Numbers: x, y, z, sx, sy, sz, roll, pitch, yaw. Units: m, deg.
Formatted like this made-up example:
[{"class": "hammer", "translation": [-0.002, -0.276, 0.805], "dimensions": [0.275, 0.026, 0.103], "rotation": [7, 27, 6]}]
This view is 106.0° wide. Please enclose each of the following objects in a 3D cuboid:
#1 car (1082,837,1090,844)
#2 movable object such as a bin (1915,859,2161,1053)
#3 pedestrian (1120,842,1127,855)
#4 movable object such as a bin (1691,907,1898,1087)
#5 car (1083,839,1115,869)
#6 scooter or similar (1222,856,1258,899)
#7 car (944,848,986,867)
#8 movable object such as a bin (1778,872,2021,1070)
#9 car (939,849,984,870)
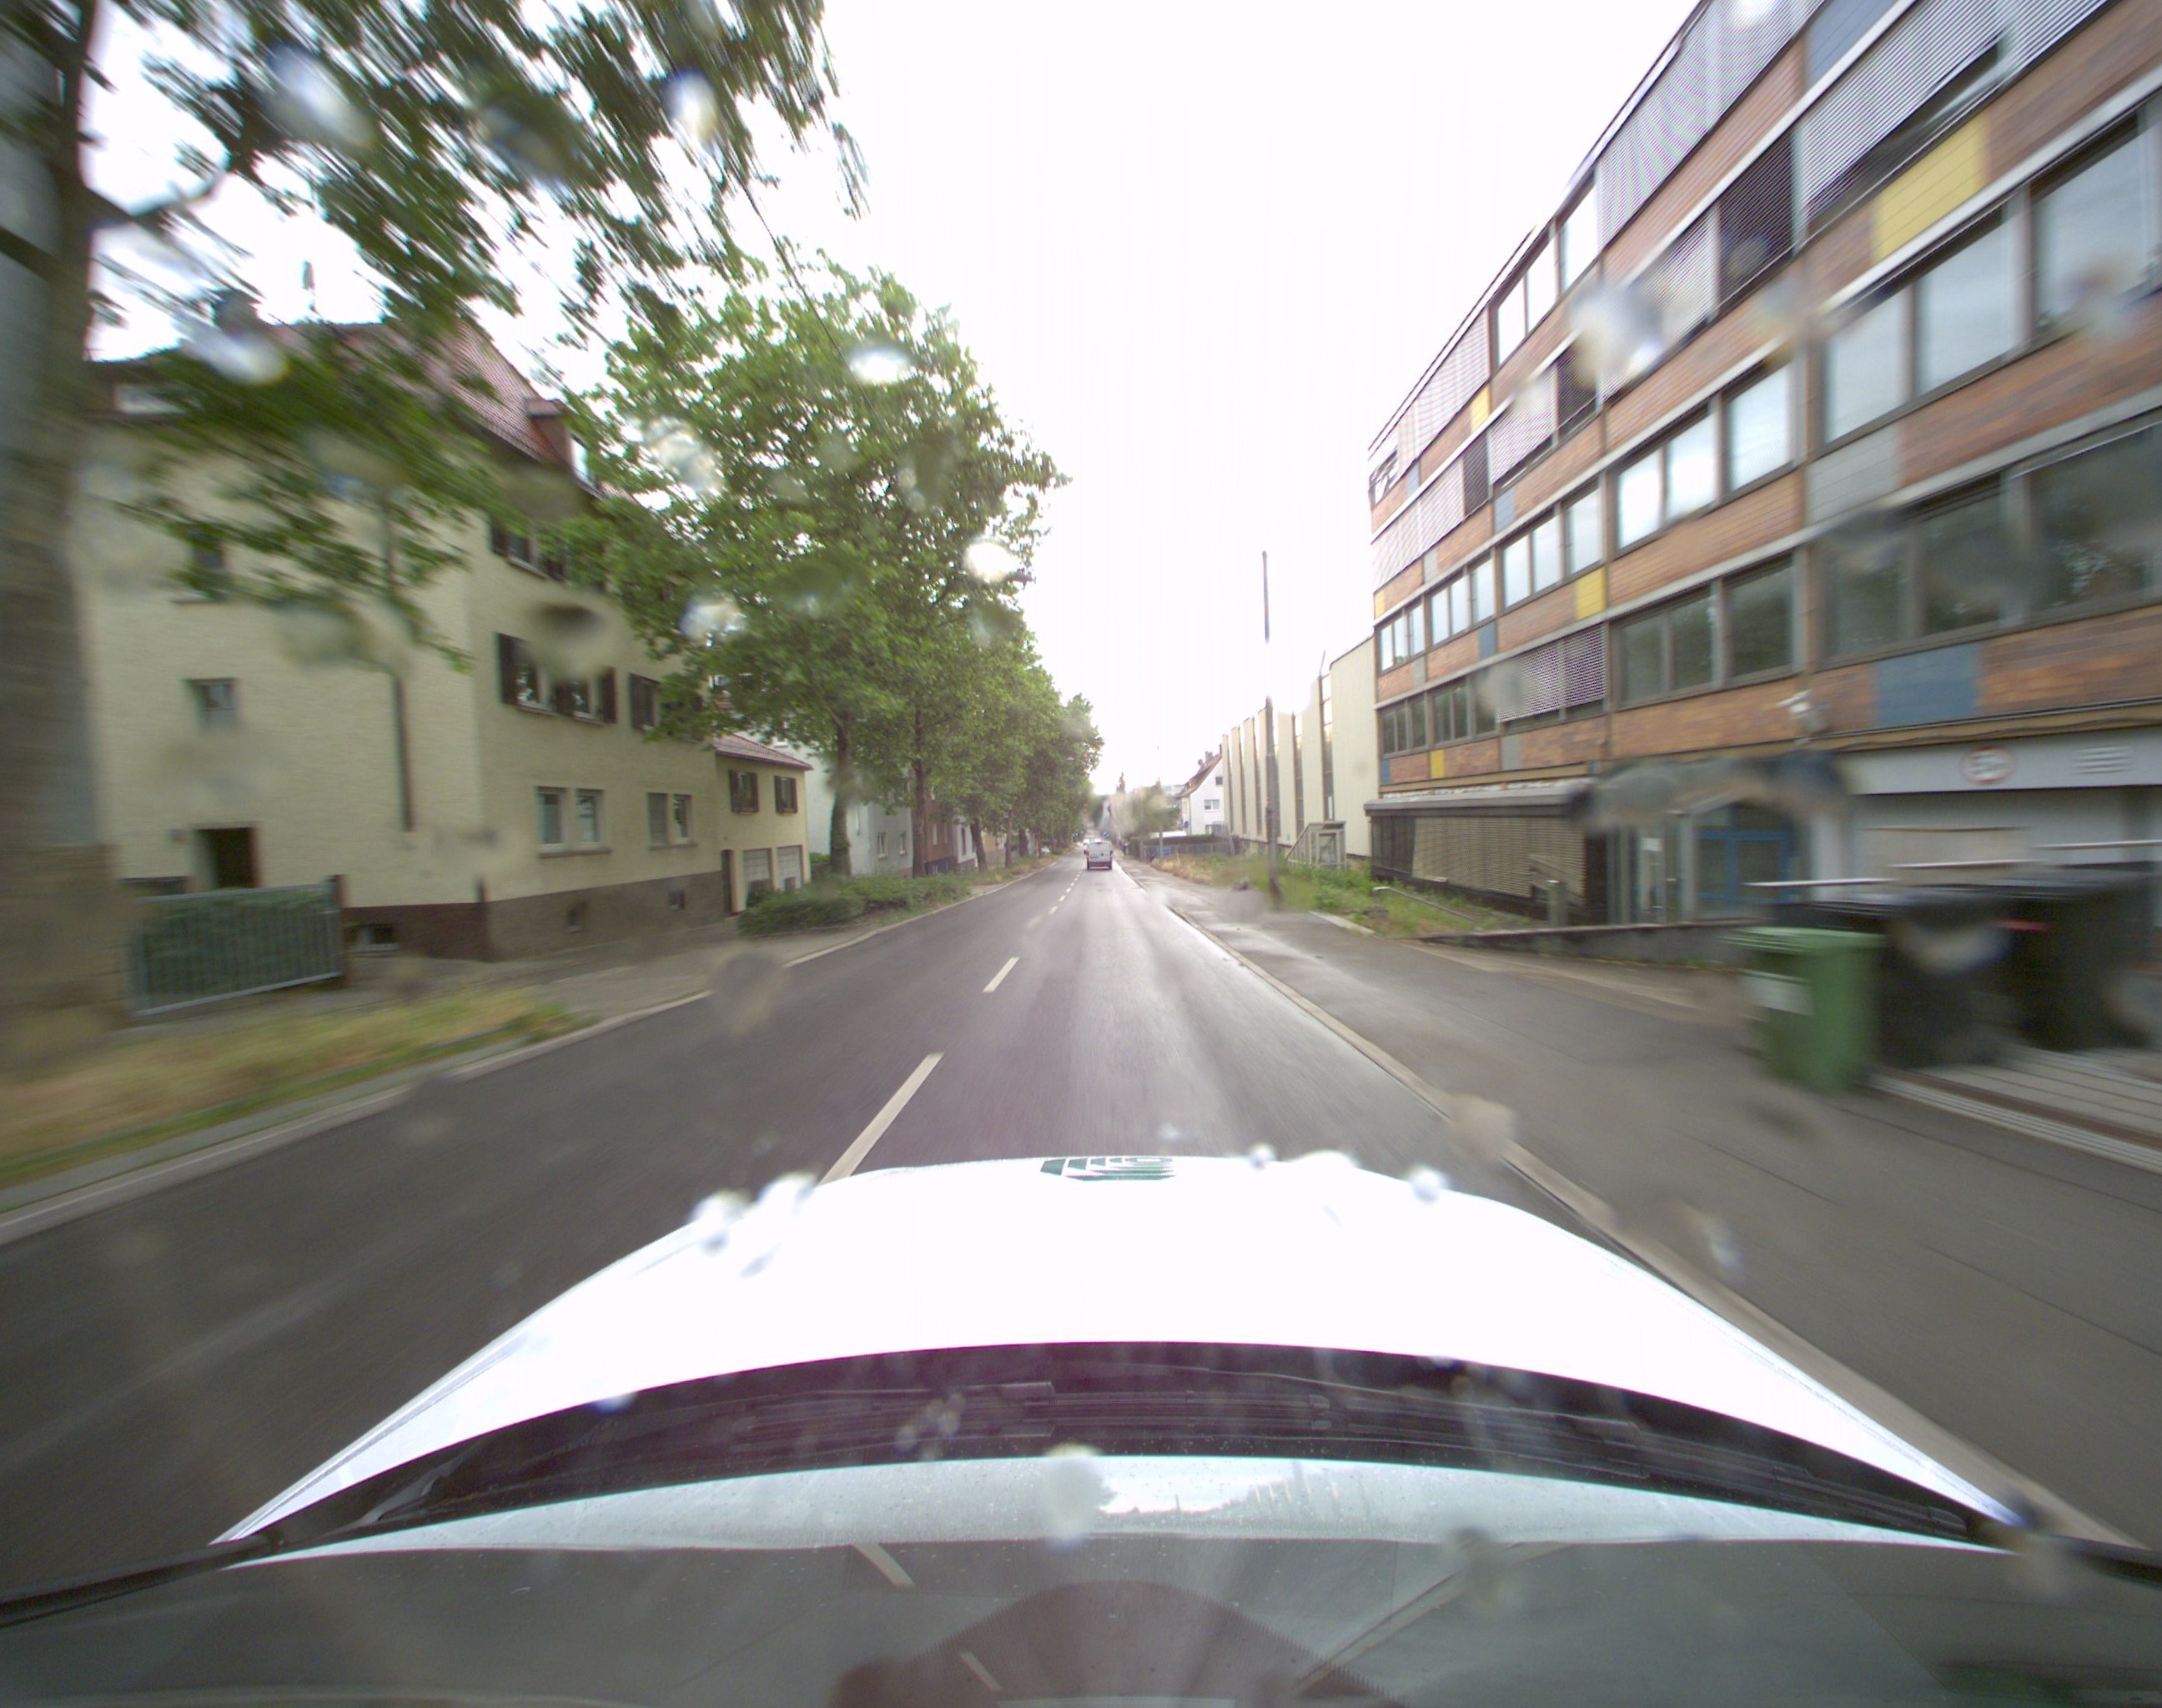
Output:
[{"class": "car", "translation": [1.303, -3.539, 213.007], "dimensions": [1.988, 1.709, 4.257], "rotation": [-2, 0, -1]}, {"class": "movable object such as a bin", "translation": [6.108, 0.606, 5.204], "dimensions": [0.692, 1.082, 0.779], "rotation": [-5, 0, 2]}, {"class": "pedestrian", "translation": [5.692, -0.707, 109.046], "dimensions": [0.812, 1.698, 0.730], "rotation": [-2, 0, 2]}, {"class": "movable object such as a bin", "translation": [4.356, 0.845, 5.025], "dimensions": [0.617, 0.936, 0.686], "rotation": [-5, 0, 2]}, {"class": "car", "translation": [1.410, -0.028, 66.206], "dimensions": [2.339, 2.160, 4.777], "rotation": [-3, 2, 0]}, {"class": "scooter or similar", "translation": [4.660, 0.667, 23.928], "dimensions": [0.603, 1.162, 1.698], "rotation": [-3, 0, -3]}, {"class": "car", "translation": [-12.581, 0.330, 88.317], "dimensions": [4.183, 1.891, 2.000], "rotation": [-2, 0, 0]}, {"class": "movable object such as a bin", "translation": [5.154, 0.699, 5.185], "dimensions": [0.692, 1.082, 0.779], "rotation": [-5, 0, 2]}, {"class": "car", "translation": [-12.119, 0.523, 82.685], "dimensions": [4.183, 1.891, 2.000], "rotation": [-2, 0, 0]}]
